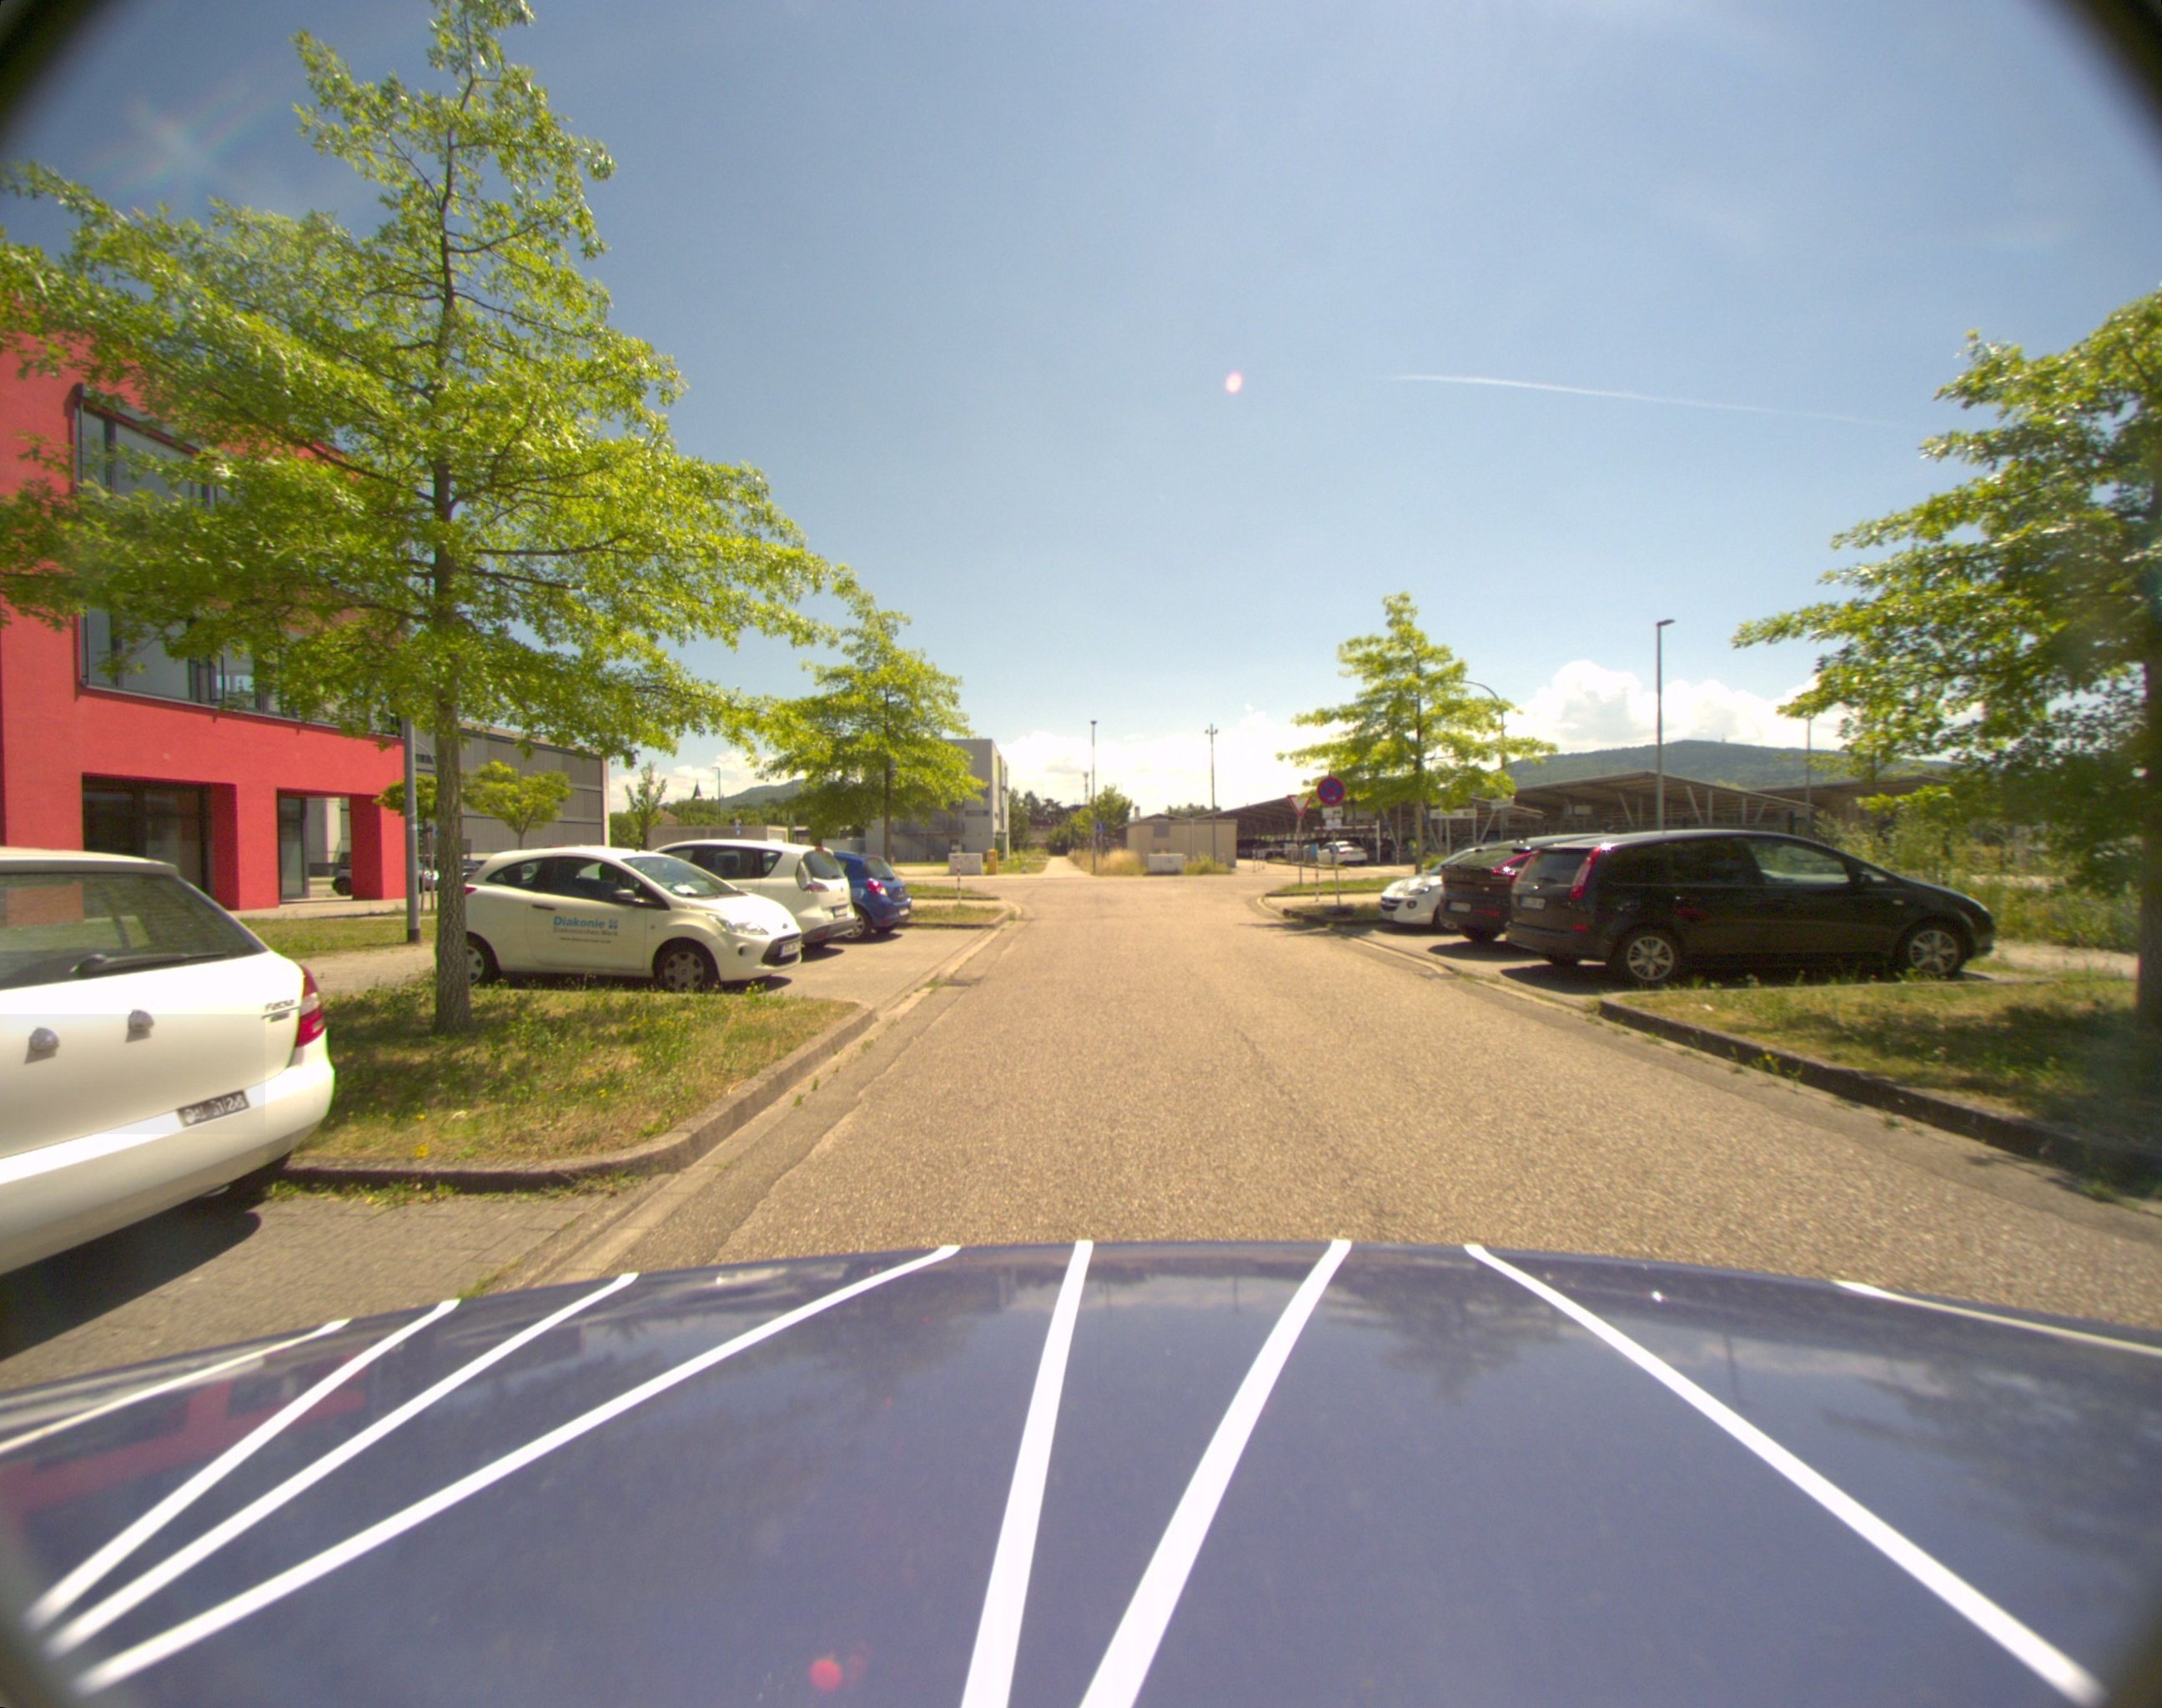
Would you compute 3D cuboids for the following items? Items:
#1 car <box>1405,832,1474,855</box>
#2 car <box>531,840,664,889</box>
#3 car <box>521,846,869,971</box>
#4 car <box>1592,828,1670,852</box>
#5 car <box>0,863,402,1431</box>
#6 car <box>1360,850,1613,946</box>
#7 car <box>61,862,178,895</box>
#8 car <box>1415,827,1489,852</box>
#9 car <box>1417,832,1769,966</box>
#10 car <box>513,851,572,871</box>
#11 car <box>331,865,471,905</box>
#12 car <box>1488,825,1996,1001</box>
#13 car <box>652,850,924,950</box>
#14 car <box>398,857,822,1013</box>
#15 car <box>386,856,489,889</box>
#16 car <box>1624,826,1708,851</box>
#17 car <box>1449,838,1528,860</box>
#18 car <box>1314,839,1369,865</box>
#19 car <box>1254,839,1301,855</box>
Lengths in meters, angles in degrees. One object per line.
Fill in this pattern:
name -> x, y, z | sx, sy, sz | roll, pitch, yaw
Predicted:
car -> 23.588, -0.671, 50.040 | 3.774, 1.428, 1.723 | -1, 1, -3
car -> -18.768, 0.423, 29.600 | 3.997, 1.764, 1.811 | -2, -1, 0
car -> -5.381, 0.719, 10.965 | 4.119, 1.641, 1.774 | 0, 0, 3
car -> 34.705, -0.870, 47.984 | 3.774, 1.428, 1.723 | -1, 1, -3
car -> -4.856, 0.809, 2.384 | 3.844, 1.515, 1.779 | 0, 1, 1
car -> 7.049, 0.730, 13.467 | 3.513, 1.433, 1.727 | -3, 1, 0
car -> -48.661, 1.208, 38.506 | 3.625, 1.461, 1.658 | -1, 3, -1
car -> 22.896, -0.879, 46.975 | 3.774, 1.428, 1.723 | -1, 1, -3
car -> 7.201, 0.588, 10.966 | 3.848, 1.584, 1.829 | -3, 1, -2
car -> -44.201, 0.565, 62.419 | 3.625, 1.493, 1.658 | -1, 3, 1
car -> -26.178, 1.181, 29.351 | 3.706, 1.433, 1.788 | -1, -2, -2
car -> 6.926, 0.595, 8.344 | 3.915, 1.583, 1.728 | -3, 1, 5
car -> -4.961, 0.741, 13.185 | 4.004, 1.482, 1.728 | 2, 0, 5
car -> -4.925, 0.788, 8.260 | 3.626, 1.454, 1.611 | 1, 0, 3
car -> -31.999, 0.902, 37.844 | 3.625, 1.461, 1.658 | -1, 3, -1
car -> 34.916, -0.925, 45.393 | 3.774, 1.428, 1.723 | -1, 1, -3
car -> 24.076, -0.276, 45.003 | 3.774, 1.221, 1.723 | -1, 1, -3
car -> 15.198, -0.138, 44.467 | 1.723, 1.428, 3.774 | -1, 1, -3
car -> 17.654, -0.639, 68.379 | 3.774, 1.428, 1.723 | -1, 1, -3
